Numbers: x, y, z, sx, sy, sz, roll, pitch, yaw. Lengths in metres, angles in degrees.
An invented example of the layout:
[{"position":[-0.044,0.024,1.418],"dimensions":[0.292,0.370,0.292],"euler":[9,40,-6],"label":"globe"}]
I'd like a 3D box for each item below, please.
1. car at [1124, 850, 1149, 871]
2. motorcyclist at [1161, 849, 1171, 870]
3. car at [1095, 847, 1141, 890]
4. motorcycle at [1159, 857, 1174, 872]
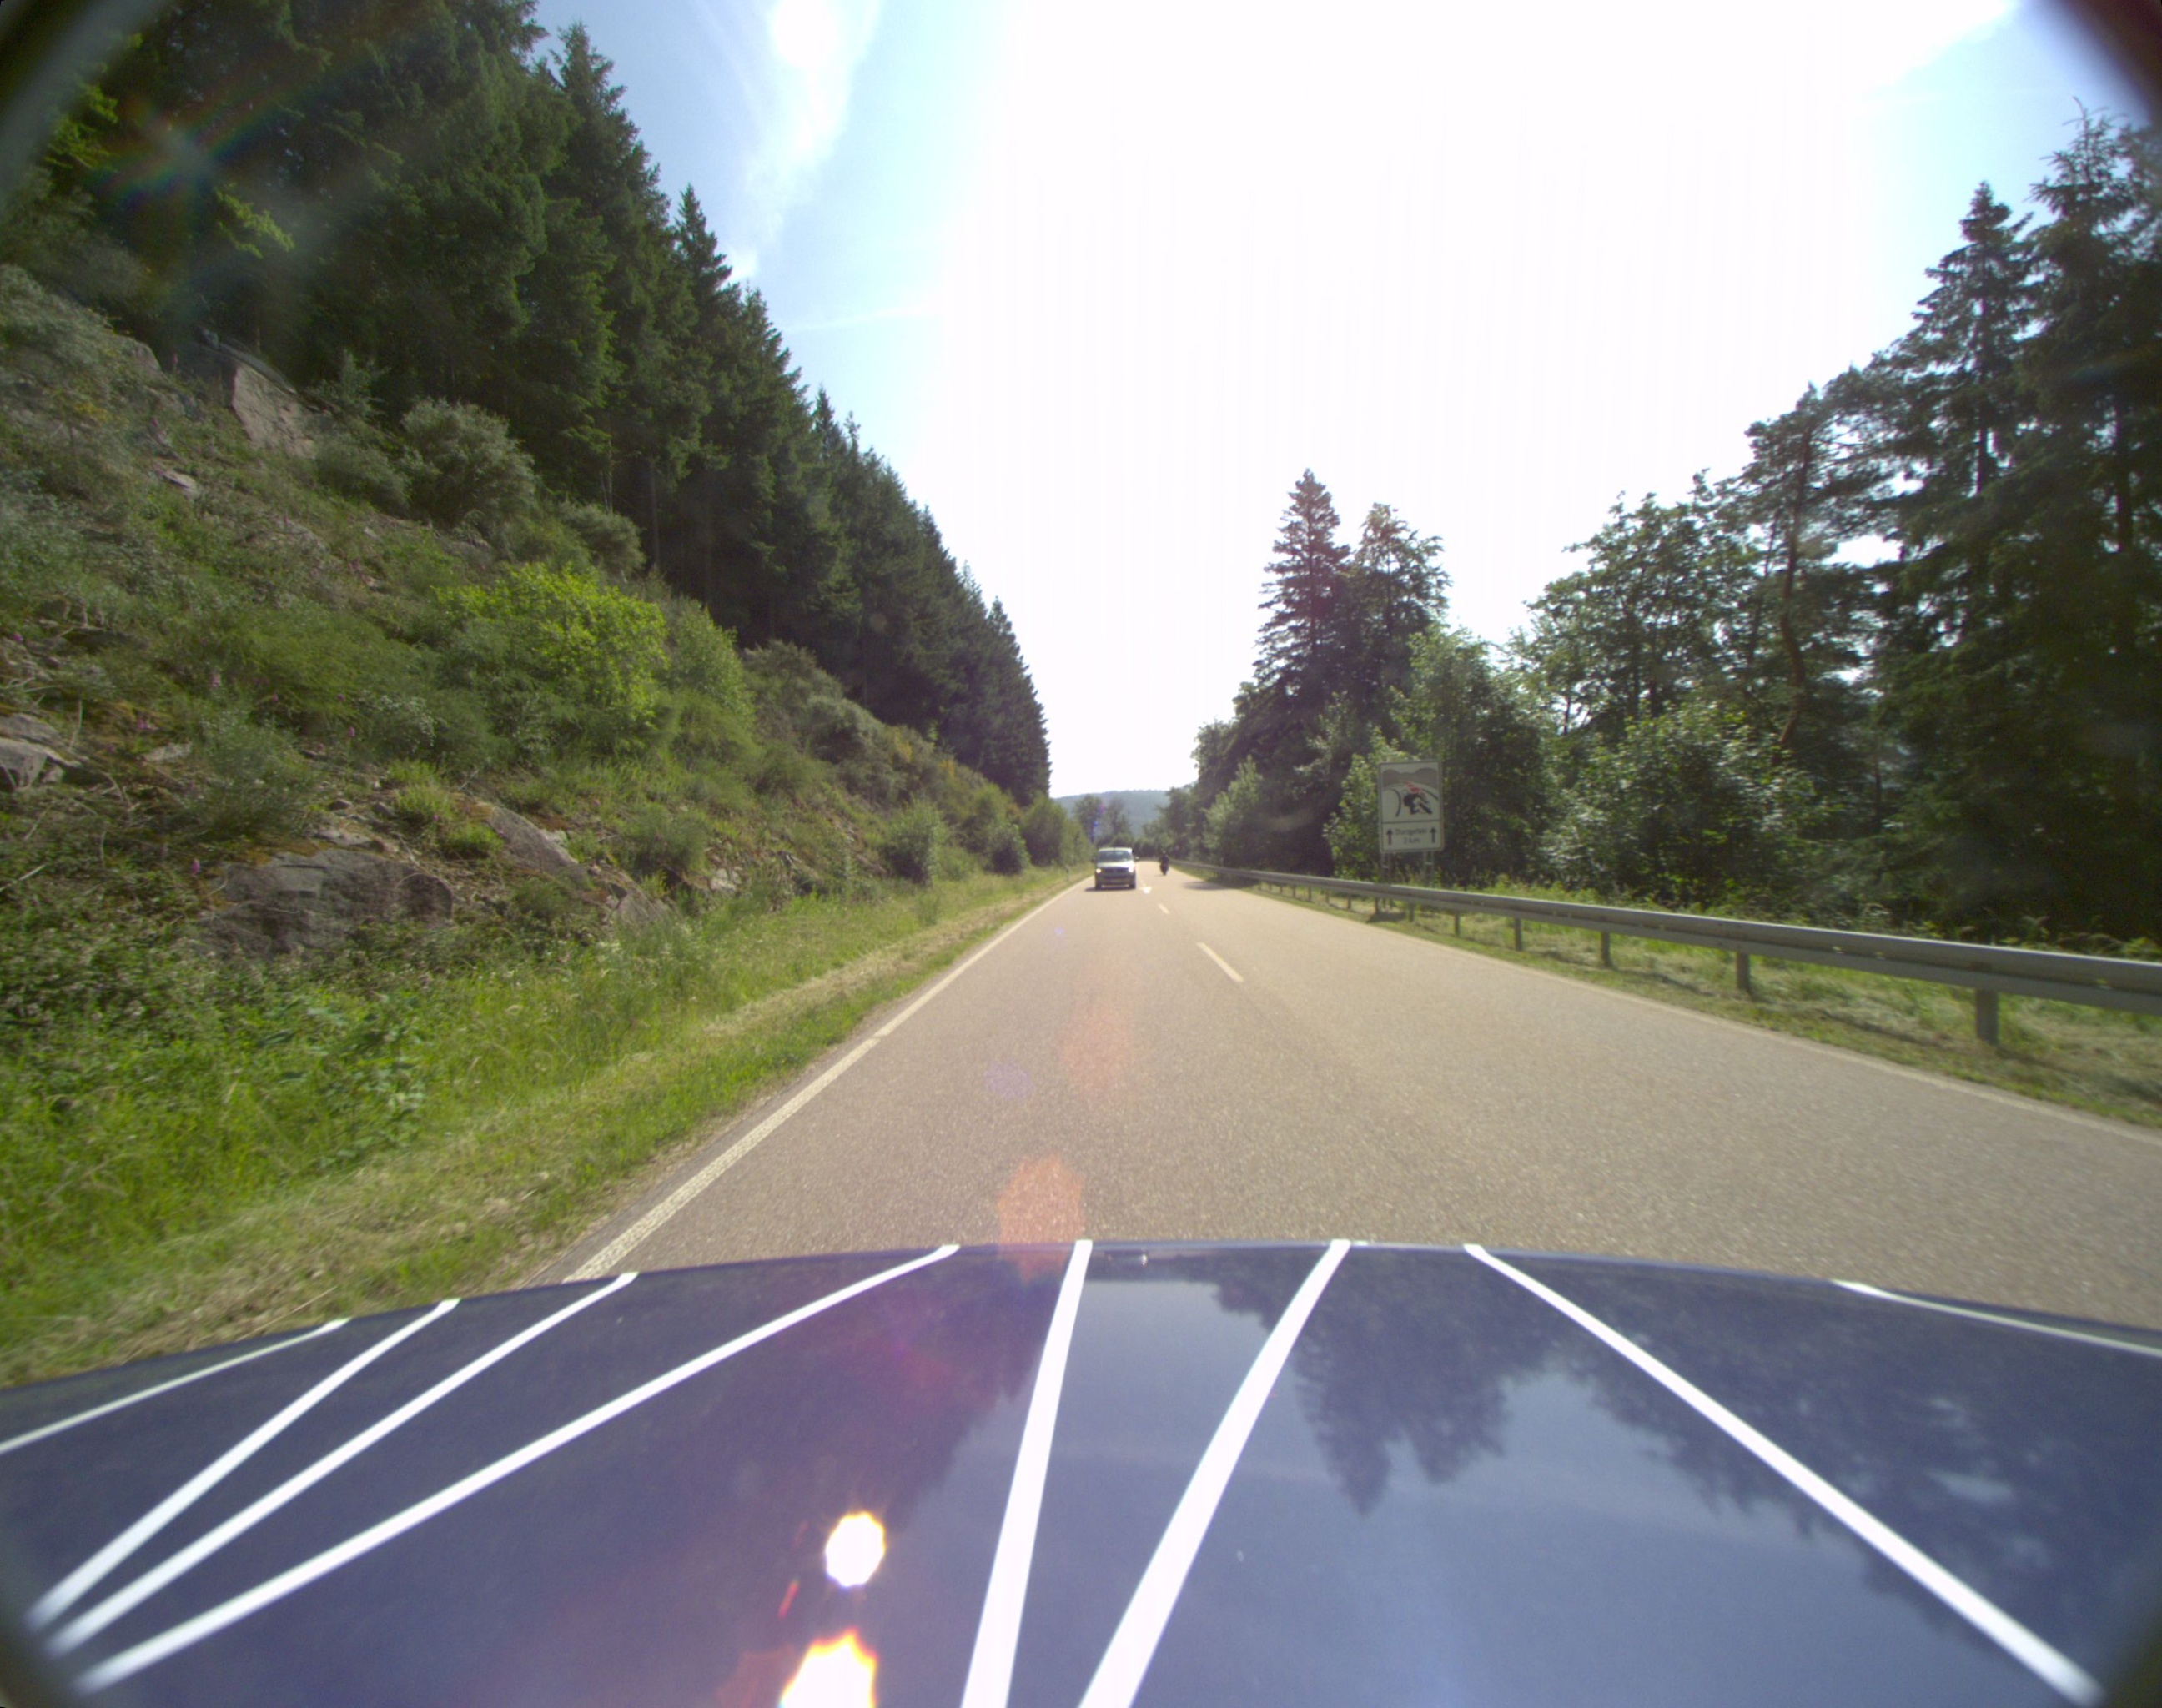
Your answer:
[{"position":[5.046,0.530,69.389],"dimensions":[2.137,1.824,4.723],"euler":[-1,0,3],"label":"car"},{"position":[6.356,0.421,57.034],"dimensions":[0.659,1.504,0.934],"euler":[-1,0,4],"label":"motorcyclist"},{"position":[1.753,0.656,36.353],"dimensions":[1.990,1.899,4.761],"euler":[-1,0,3],"label":"car"},{"position":[6.401,0.789,56.999],"dimensions":[0.987,1.065,1.963],"euler":[-2,0,4],"label":"motorcycle"}]
